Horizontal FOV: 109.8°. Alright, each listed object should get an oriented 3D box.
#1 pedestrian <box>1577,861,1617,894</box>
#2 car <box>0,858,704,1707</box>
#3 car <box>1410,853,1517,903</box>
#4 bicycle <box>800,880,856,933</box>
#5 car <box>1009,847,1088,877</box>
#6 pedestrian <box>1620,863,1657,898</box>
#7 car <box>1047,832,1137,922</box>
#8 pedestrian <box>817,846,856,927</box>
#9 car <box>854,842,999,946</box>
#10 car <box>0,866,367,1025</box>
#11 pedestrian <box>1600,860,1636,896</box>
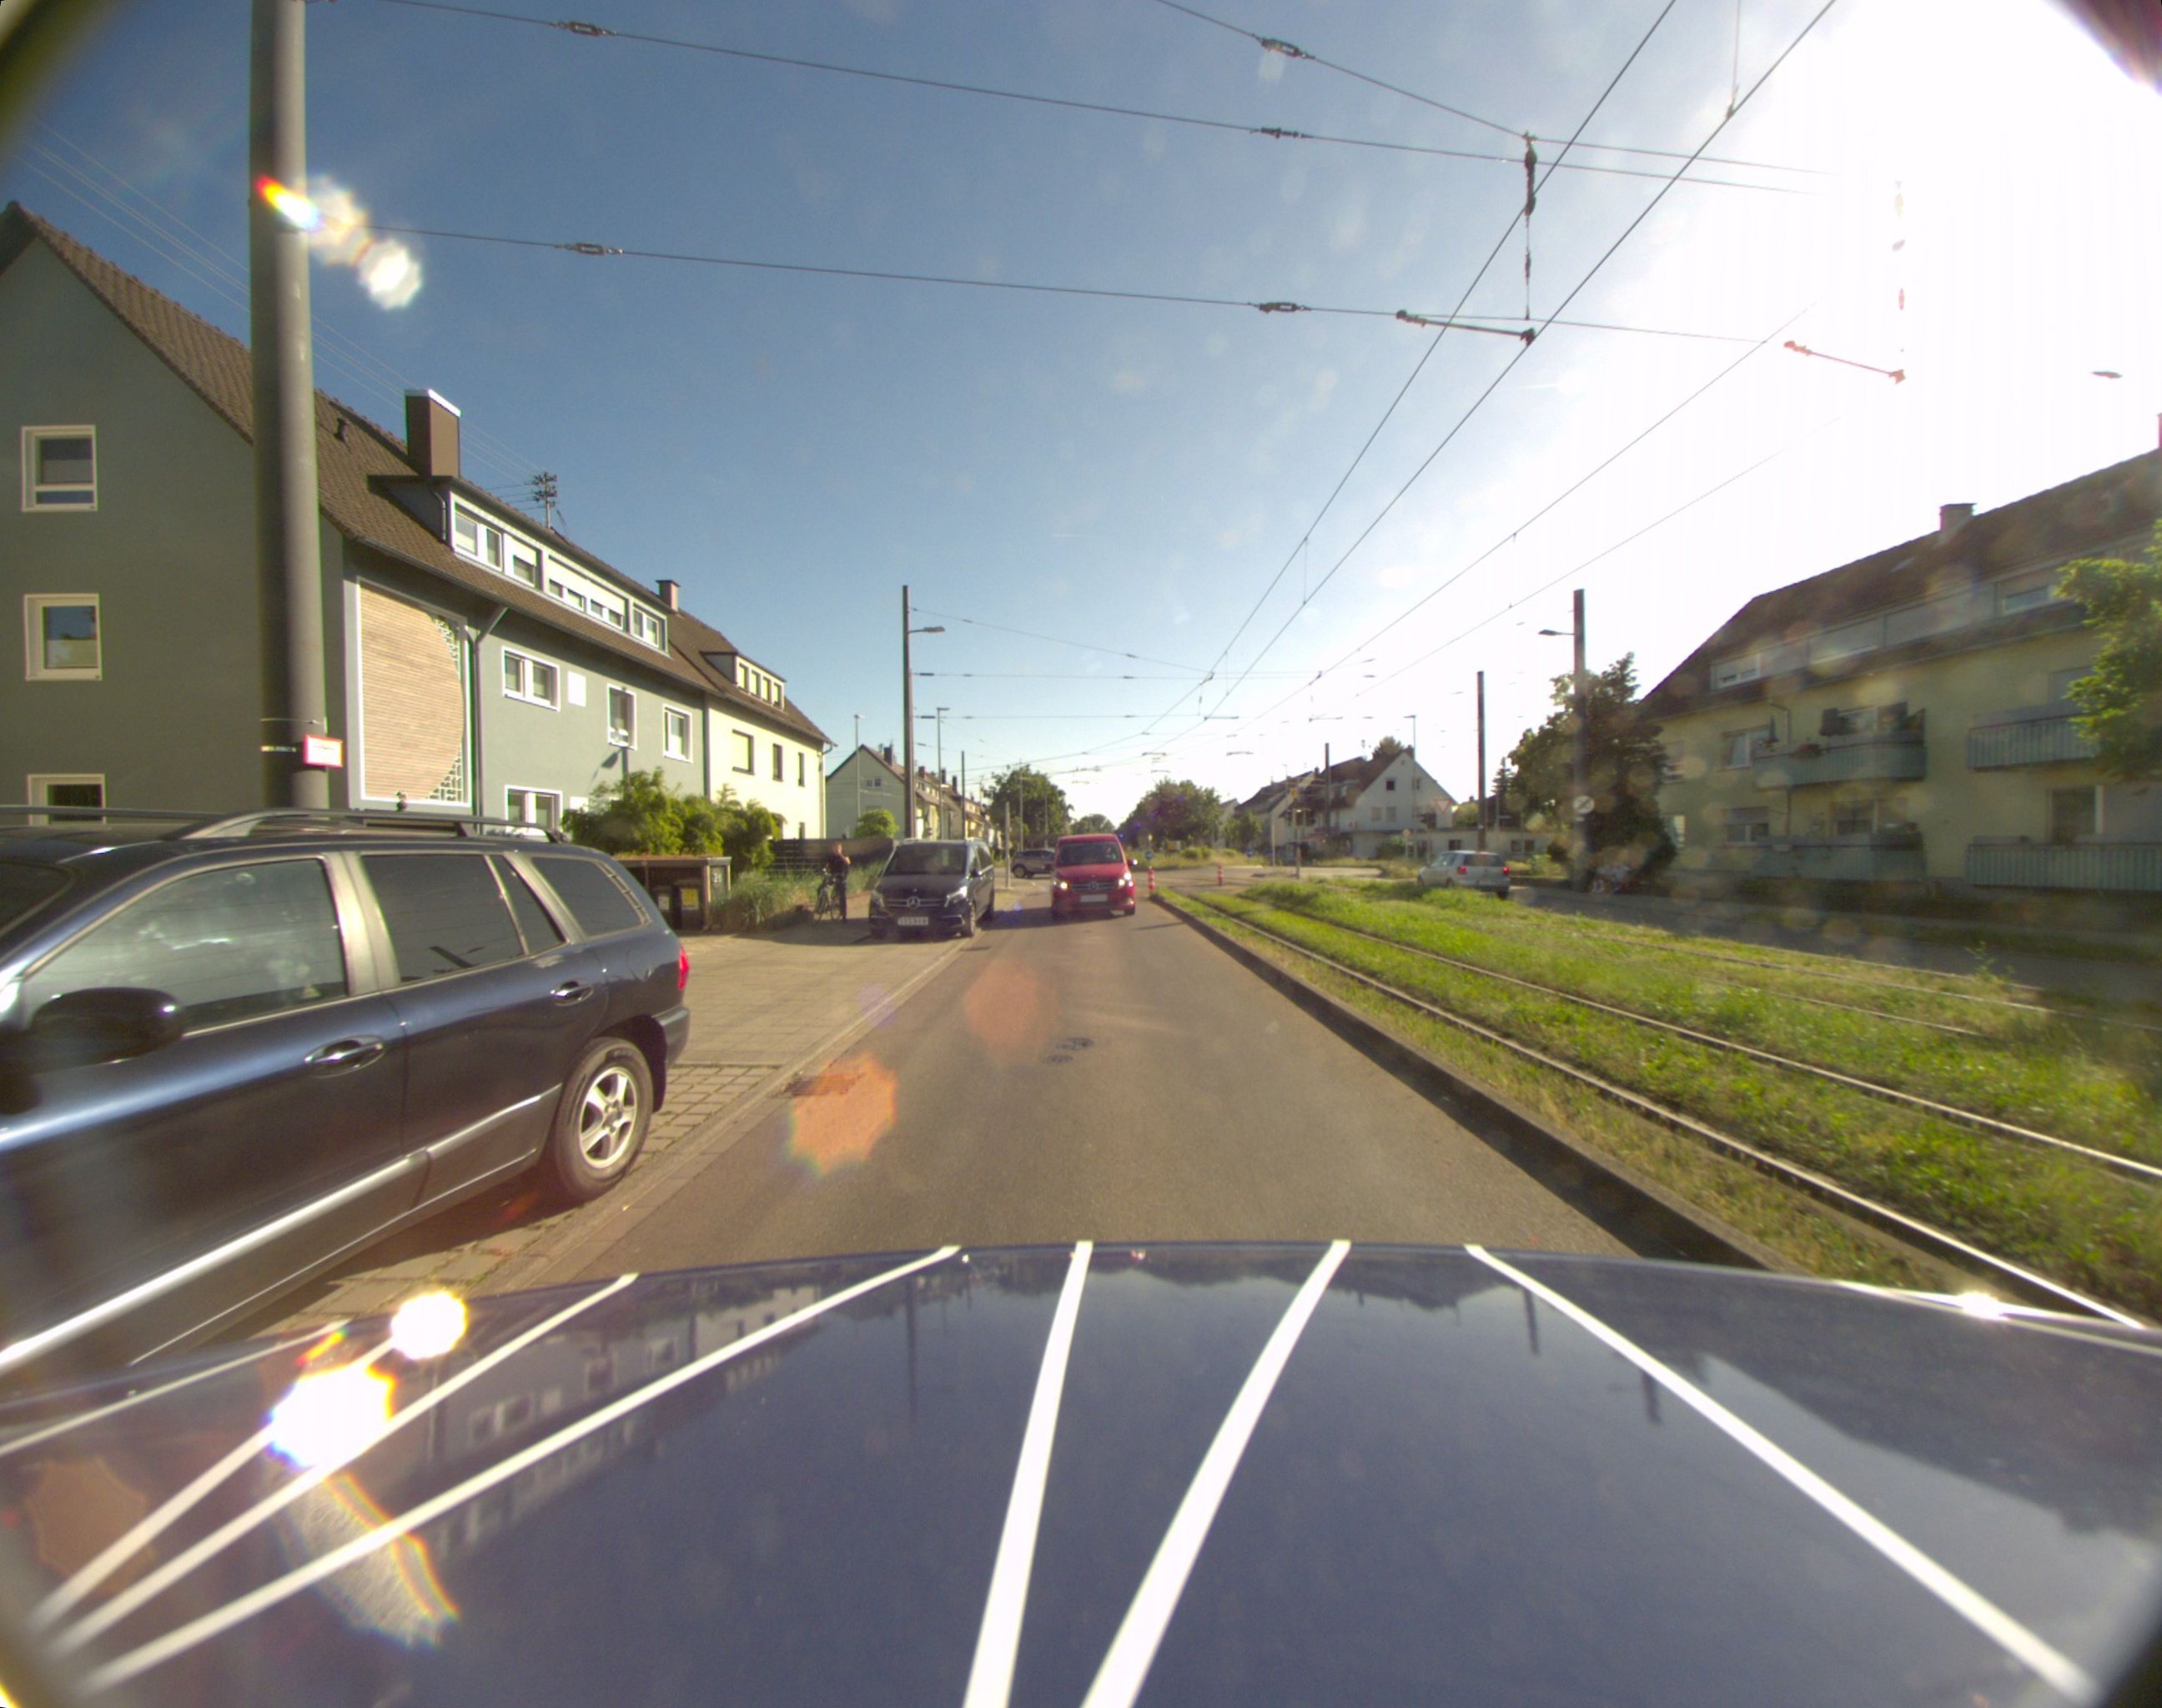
[{"bbox_3d":[16.823,0.756,24.800,0.819,1.040,0.687,0,2,-2],"label":"pedestrian"},{"bbox_3d":[-3.063,0.871,2.009,1.859,1.649,4.473,0,1,0],"label":"car"},{"bbox_3d":[11.659,0.674,23.407,1.553,1.404,3.659,0,1,2],"label":"car"},{"bbox_3d":[-5.315,1.079,16.057,0.602,0.974,1.562,1,1,3],"label":"bicycle"},{"bbox_3d":[-1.780,0.431,41.948,3.992,1.570,1.833,0,1,16],"label":"car"},{"bbox_3d":[17.040,0.795,23.231,0.725,1.000,0.594,-1,3,-23],"label":"pedestrian"},{"bbox_3d":[0.146,0.496,20.079,1.999,1.970,5.236,-3,1,-2],"label":"car"},{"bbox_3d":[-5.290,0.681,16.446,0.584,1.713,0.714,0,1,2],"label":"pedestrian"},{"bbox_3d":[-2.988,0.686,15.877,1.966,1.826,4.926,0,1,0],"label":"car"},{"bbox_3d":[-10.515,0.867,8.004,4.175,1.459,1.900,0,0,0],"label":"car"},{"bbox_3d":[16.926,0.755,23.939,0.821,1.059,0.625,-2,3,-32],"label":"pedestrian"}]
